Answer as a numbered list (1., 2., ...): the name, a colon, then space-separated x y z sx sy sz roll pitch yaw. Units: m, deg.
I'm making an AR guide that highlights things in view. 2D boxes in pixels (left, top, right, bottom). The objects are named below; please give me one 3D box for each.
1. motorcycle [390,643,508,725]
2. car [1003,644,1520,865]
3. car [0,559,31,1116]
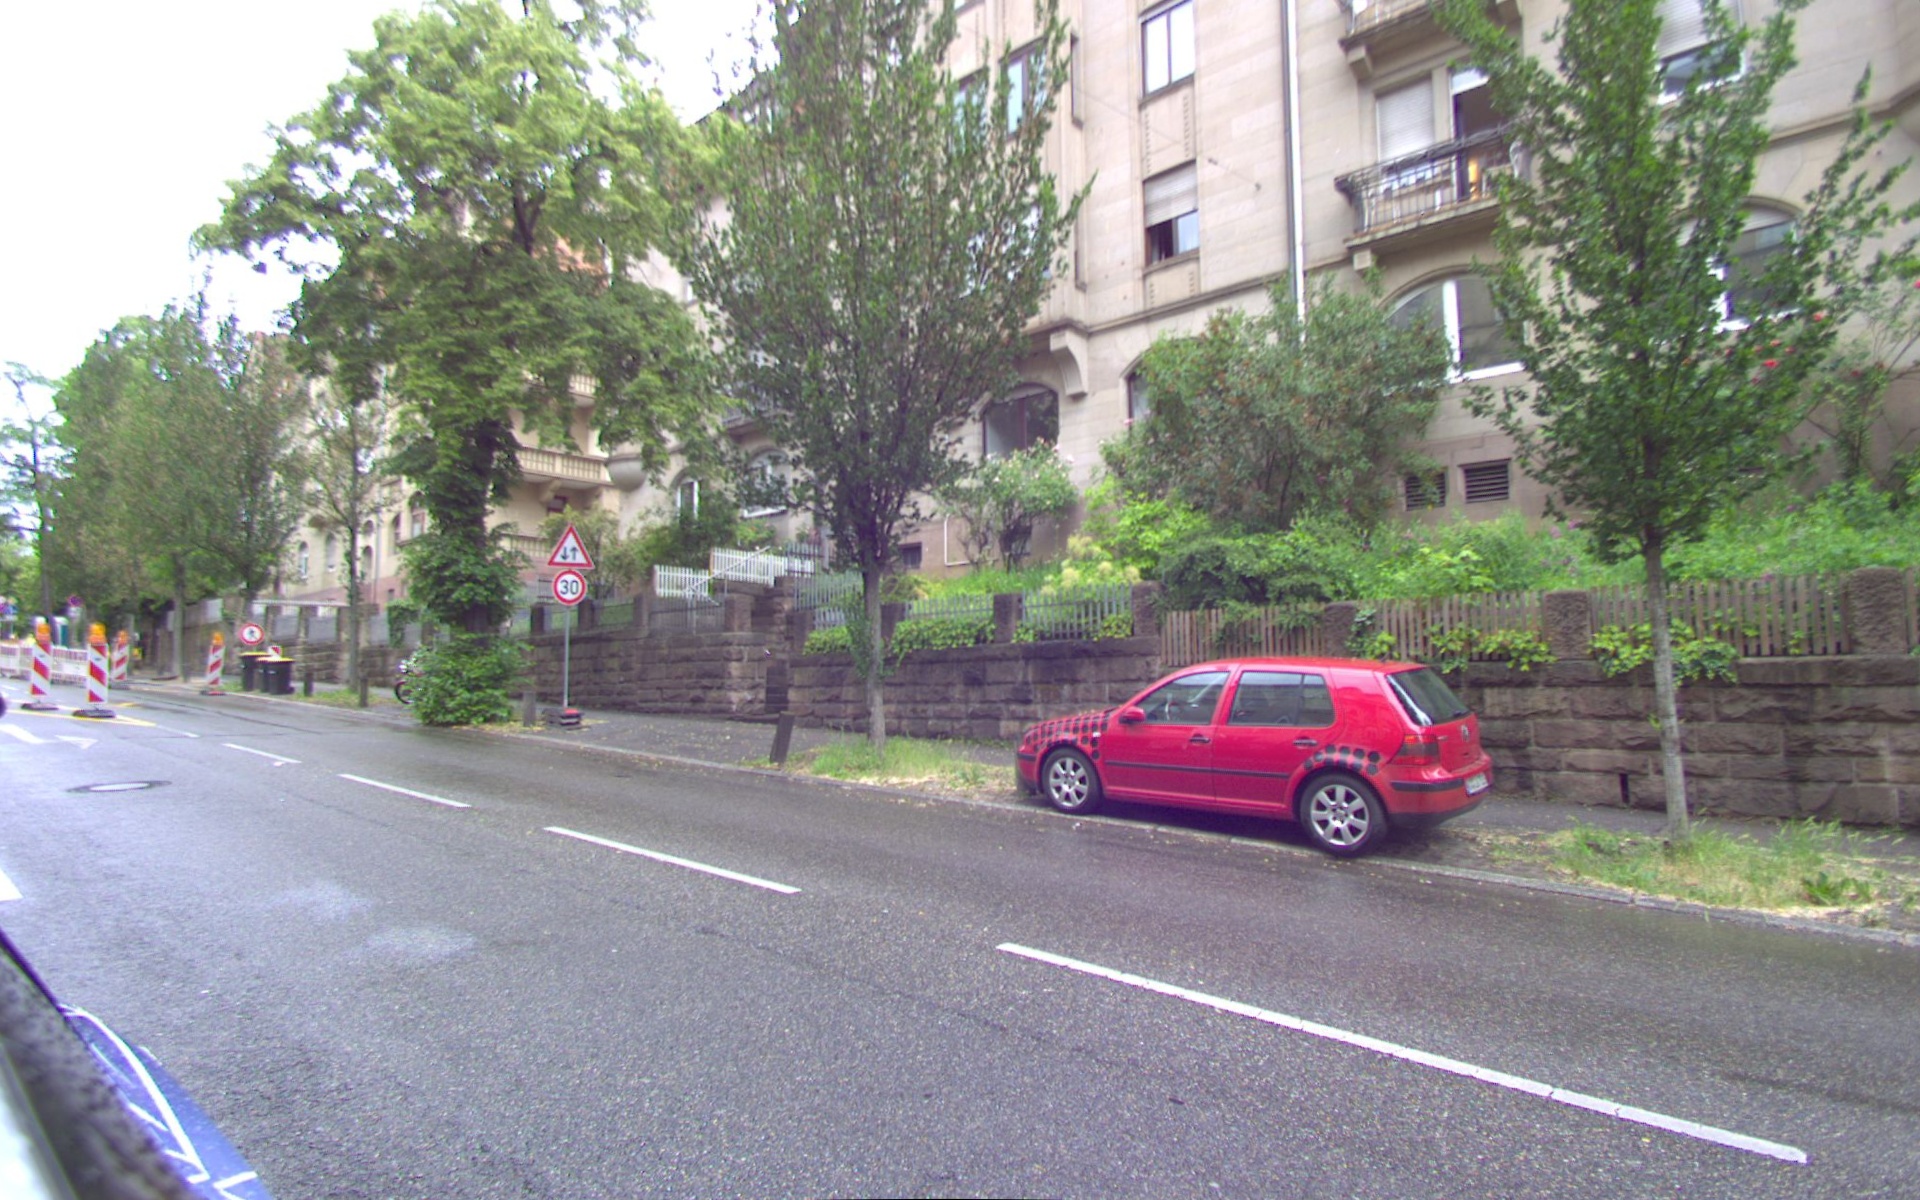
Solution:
1. motorcycle: -9.718 1.540 19.165 3.058 1.425 0.792 -2 -2 38
2. car: 2.444 1.141 8.872 4.062 1.462 1.596 -2 -3 42
3. car: -5.153 0.749 3.946 4.520 1.685 1.799 -2 -3 42
